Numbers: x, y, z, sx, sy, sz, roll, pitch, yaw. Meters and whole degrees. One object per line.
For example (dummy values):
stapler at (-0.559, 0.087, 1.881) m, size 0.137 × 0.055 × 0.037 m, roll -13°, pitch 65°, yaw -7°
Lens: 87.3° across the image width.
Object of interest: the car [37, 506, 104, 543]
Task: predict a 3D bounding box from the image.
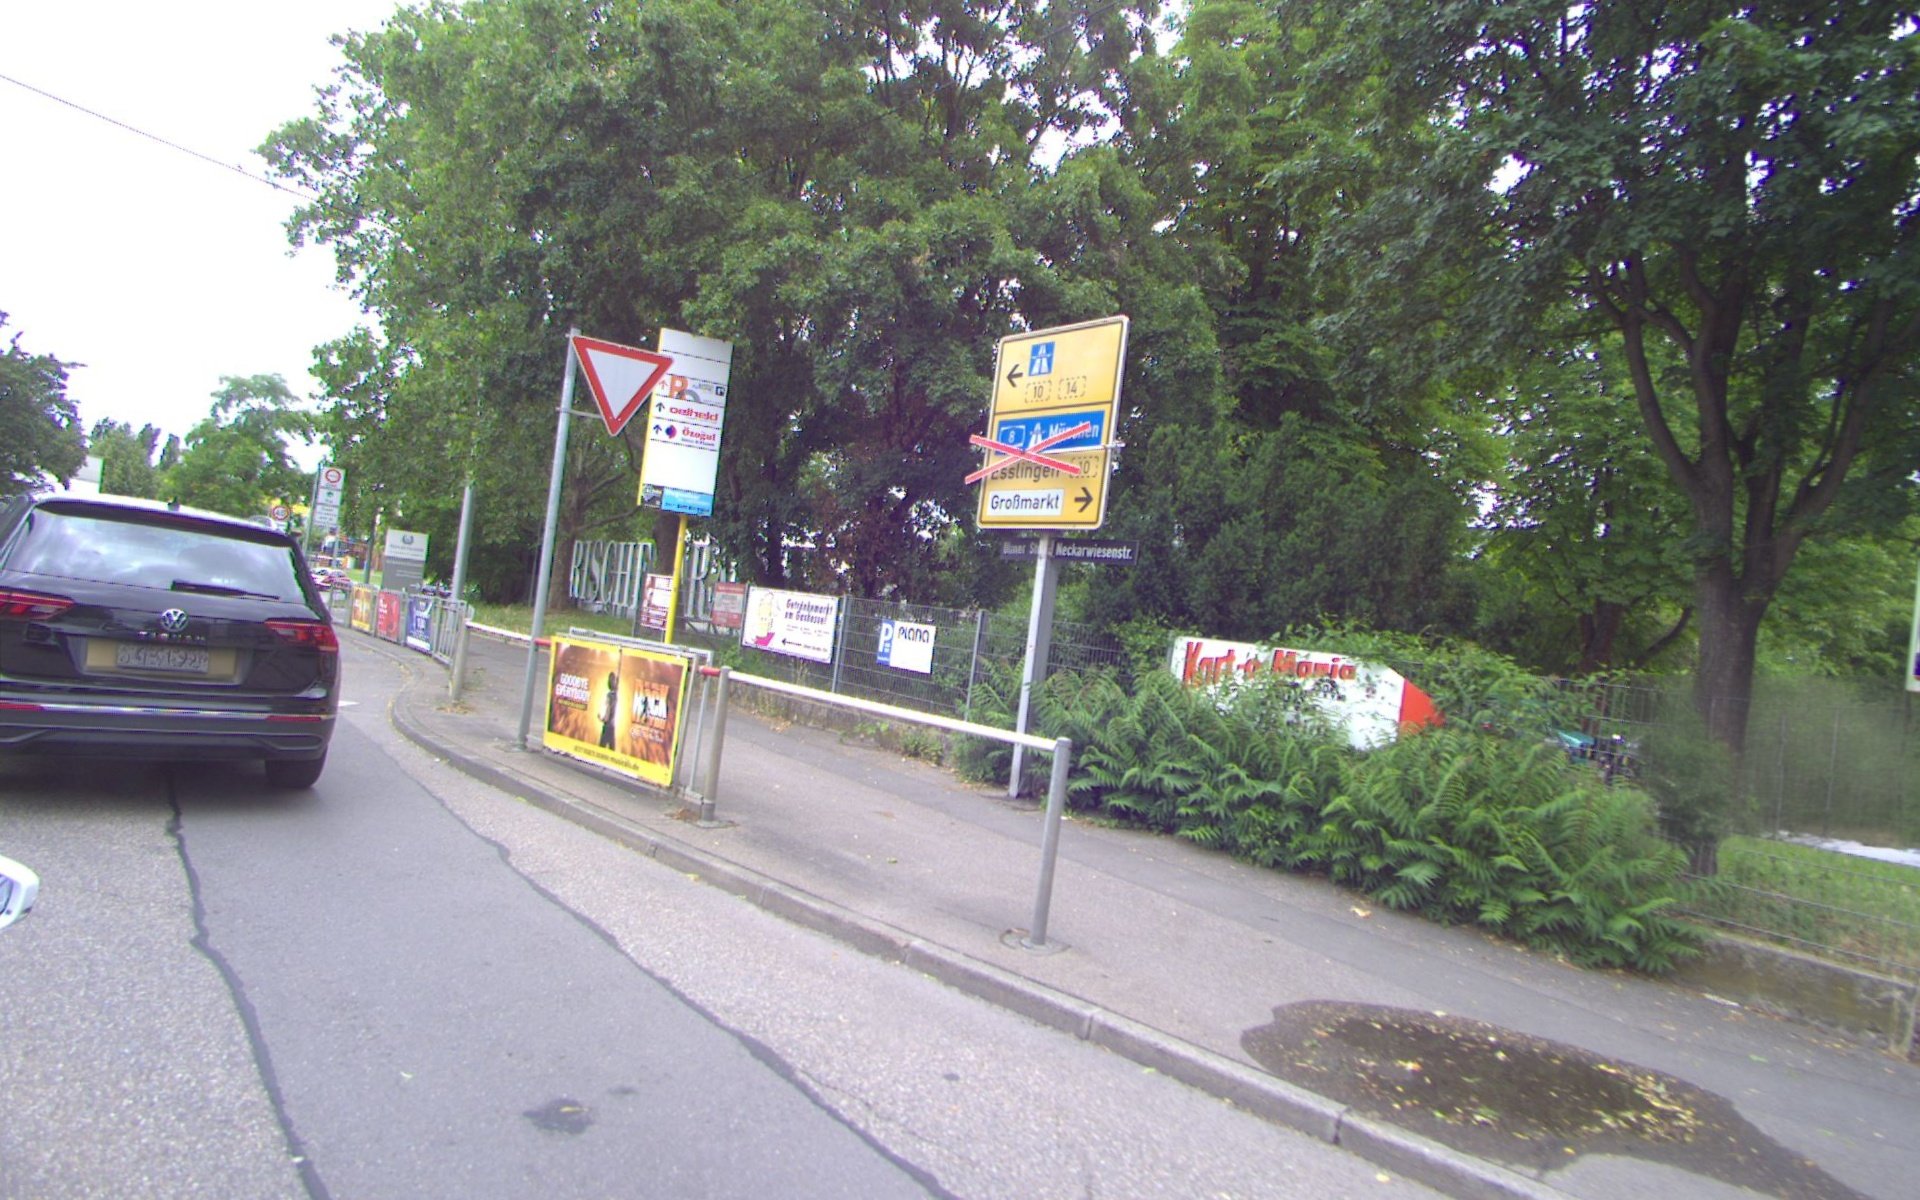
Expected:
car at (-61.734, -5.211, 69.888) m, size 1.945 × 2.036 × 4.199 m, roll 9°, pitch -2°, yaw -22°

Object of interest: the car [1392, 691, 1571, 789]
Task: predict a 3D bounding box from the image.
car at (10.956, 2.945, 21.089) m, size 3.706 × 1.599 × 1.622 m, roll 9°, pitch -1°, yaw -34°

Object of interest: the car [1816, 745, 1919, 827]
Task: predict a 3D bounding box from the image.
car at (22.274, 4.485, 24.271) m, size 3.533 × 1.585 × 1.620 m, roll 9°, pitch -1°, yaw -37°

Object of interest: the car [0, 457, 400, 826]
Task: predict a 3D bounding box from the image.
car at (-5.352, 0.120, 6.430) m, size 4.131 × 1.654 × 1.842 m, roll 7°, pitch -3°, yaw 44°

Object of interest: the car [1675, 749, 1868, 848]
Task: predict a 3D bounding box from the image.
car at (14.230, 3.454, 17.583) m, size 3.671 × 1.263 × 1.693 m, roll 9°, pitch -2°, yaw -37°

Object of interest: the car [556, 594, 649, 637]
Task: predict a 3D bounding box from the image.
car at (-16.694, 0.743, 47.062) m, size 3.706 × 1.522 × 1.464 m, roll 9°, pitch -2°, yaw -42°

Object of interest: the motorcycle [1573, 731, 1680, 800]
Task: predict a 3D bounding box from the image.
motorcycle at (13.177, 3.277, 19.875) m, size 2.080 × 1.101 × 1.007 m, roll 9°, pitch -1°, yaw -36°

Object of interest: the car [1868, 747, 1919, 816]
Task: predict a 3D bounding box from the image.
car at (26.237, 5.006, 27.239) m, size 3.757 × 1.614 × 1.582 m, roll 9°, pitch -1°, yaw -36°

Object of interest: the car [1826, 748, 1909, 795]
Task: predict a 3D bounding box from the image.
car at (36.402, 6.887, 40.331) m, size 3.628 × 1.457 × 1.583 m, roll 9°, pitch -1°, yaw -35°

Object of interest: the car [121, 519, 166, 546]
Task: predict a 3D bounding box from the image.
car at (-78.045, -6.427, 96.221) m, size 1.945 × 2.036 × 4.199 m, roll 9°, pitch -2°, yaw -22°

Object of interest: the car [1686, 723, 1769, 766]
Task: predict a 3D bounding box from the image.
car at (30.256, 5.709, 39.649) m, size 3.283 × 1.283 × 1.402 m, roll 9°, pitch -1°, yaw -31°
